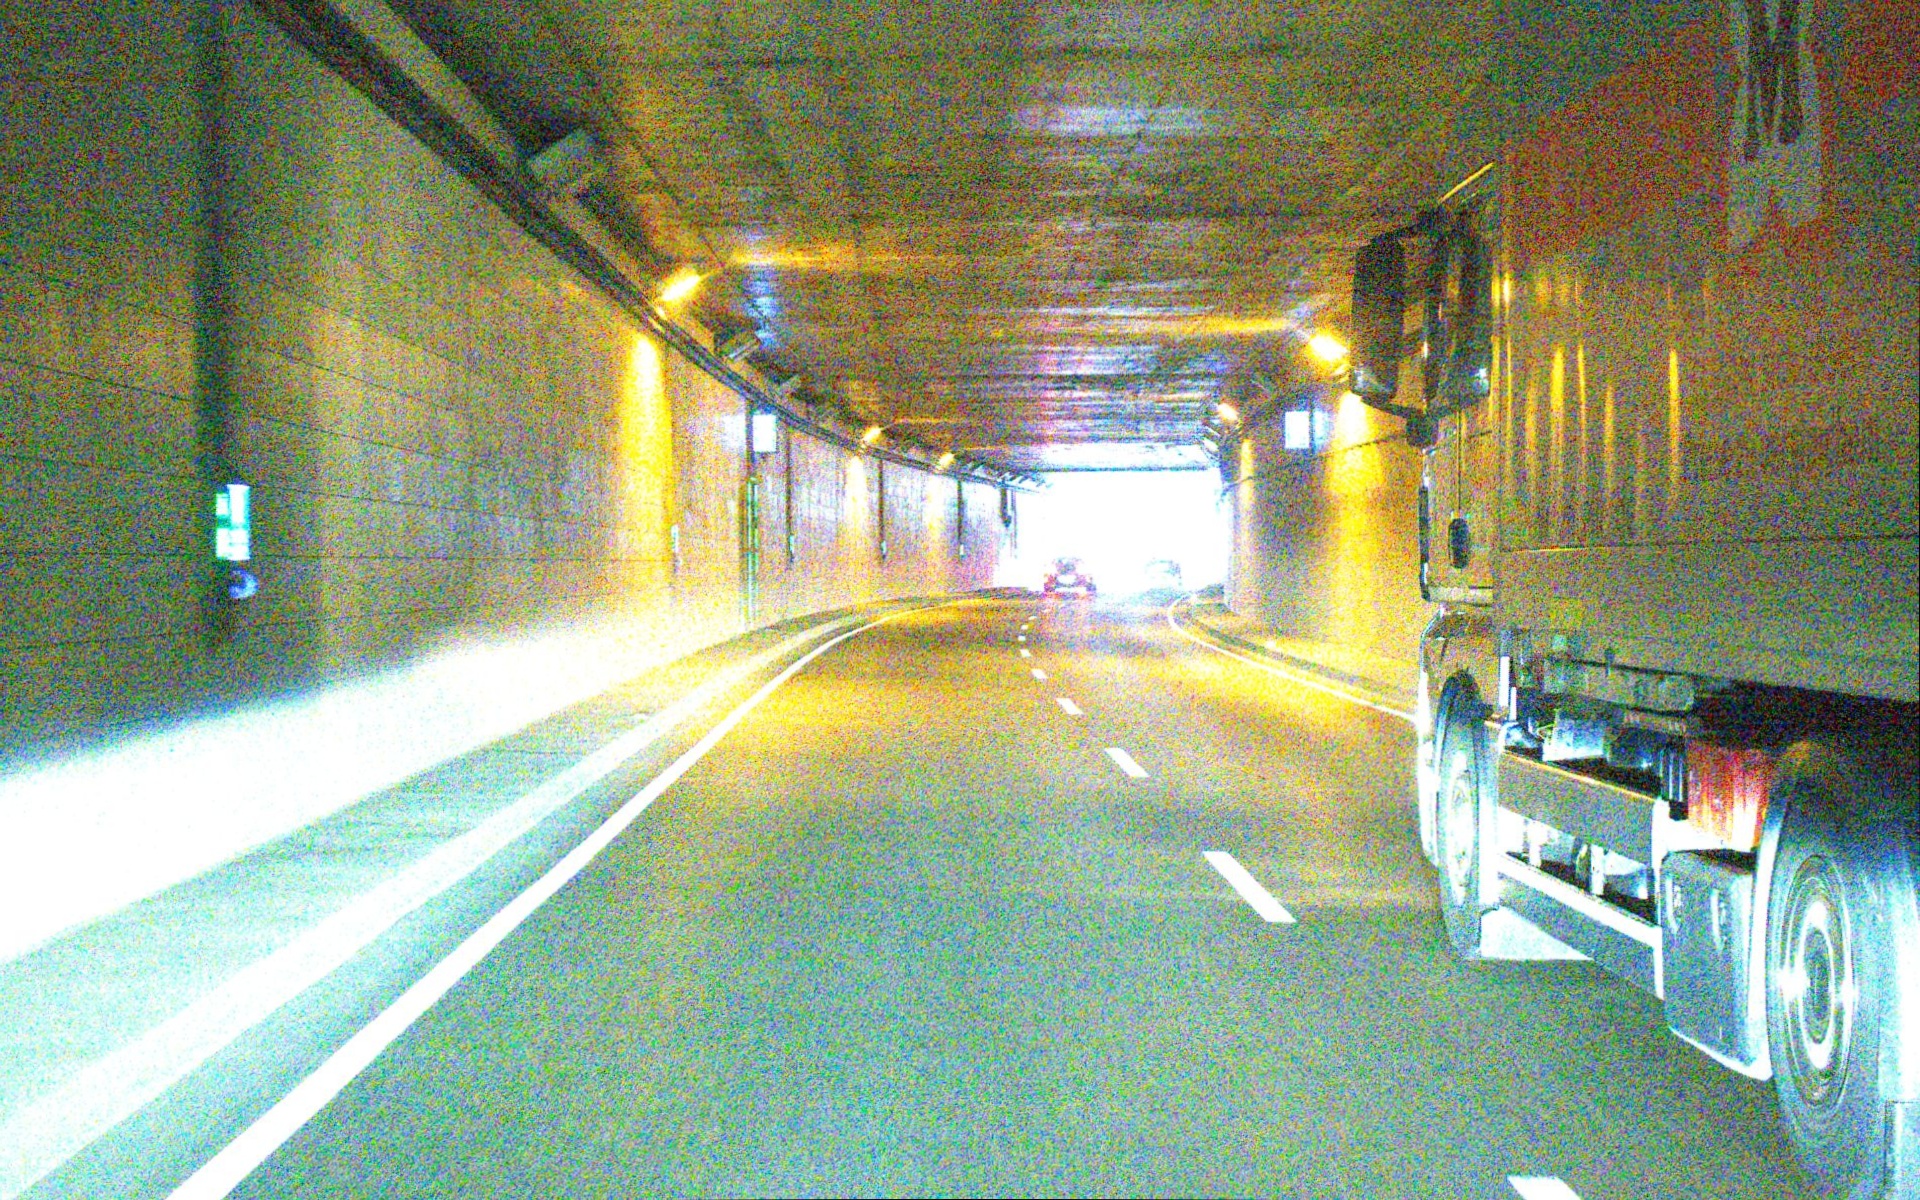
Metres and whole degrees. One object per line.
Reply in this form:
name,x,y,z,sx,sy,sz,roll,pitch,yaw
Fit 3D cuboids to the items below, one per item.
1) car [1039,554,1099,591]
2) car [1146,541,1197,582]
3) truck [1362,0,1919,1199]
car,4.129,-1.032,129.529,1.842,1.384,3.999,0,0,8
car,9.148,-1.649,148.620,1.870,1.726,3.999,0,0,9
truck,3.201,-0.595,9.106,2.888,3.900,9.910,0,1,-1
